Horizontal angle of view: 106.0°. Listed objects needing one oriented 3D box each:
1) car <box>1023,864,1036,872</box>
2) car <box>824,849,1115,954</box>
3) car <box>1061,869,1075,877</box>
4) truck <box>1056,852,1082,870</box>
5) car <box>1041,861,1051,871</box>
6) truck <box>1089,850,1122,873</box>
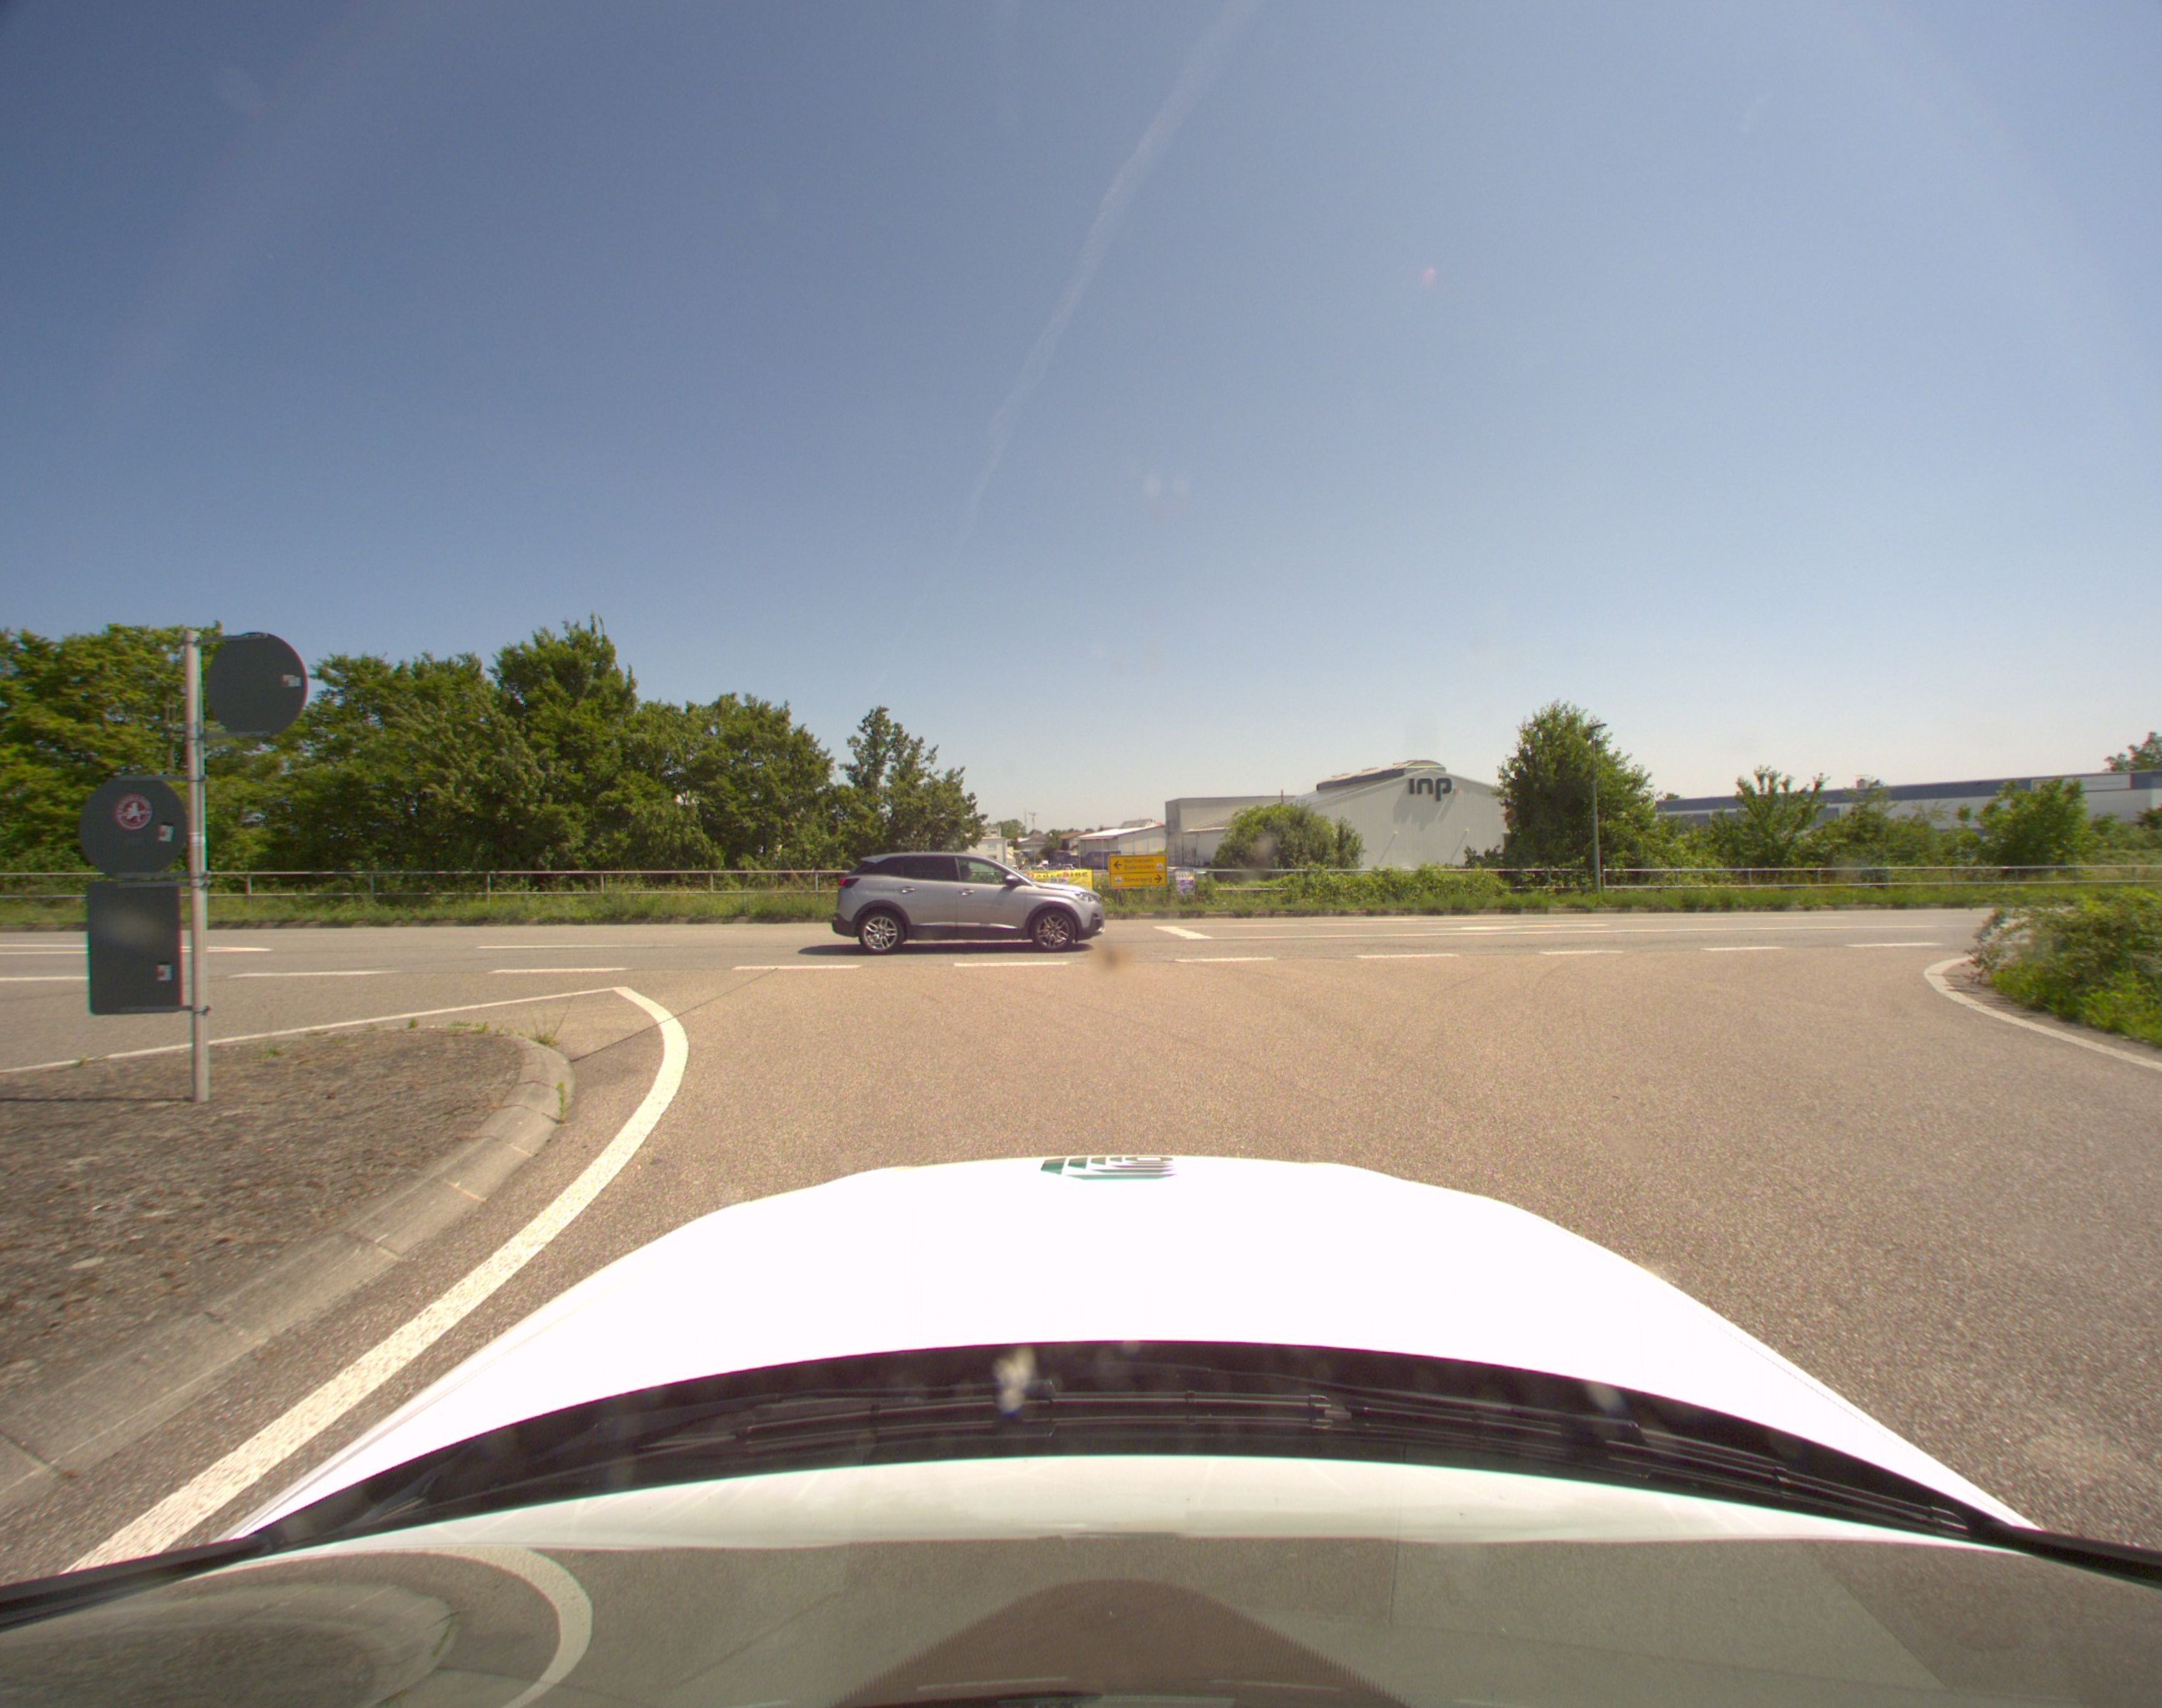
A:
[{"bbox_3d":[-11.221,3.089,177.601,1.996,1.731,4.840,0,0,-14],"label":"car"},{"bbox_3d":[-1.786,0.732,13.537,4.473,1.583,1.793,0,-1,-8],"label":"car"},{"bbox_3d":[-2.310,3.380,144.313,1.685,1.363,3.819,-3,0,-13],"label":"car"},{"bbox_3d":[-3.079,1.628,195.580,3.415,4.311,14.530,0,0,-12],"label":"truck"},{"bbox_3d":[-7.934,2.696,184.168,1.719,2.013,3.982,-1,0,-13],"label":"car"},{"bbox_3d":[4.724,1.440,162.146,3.710,4.311,13.289,0,0,-11],"label":"truck"}]
